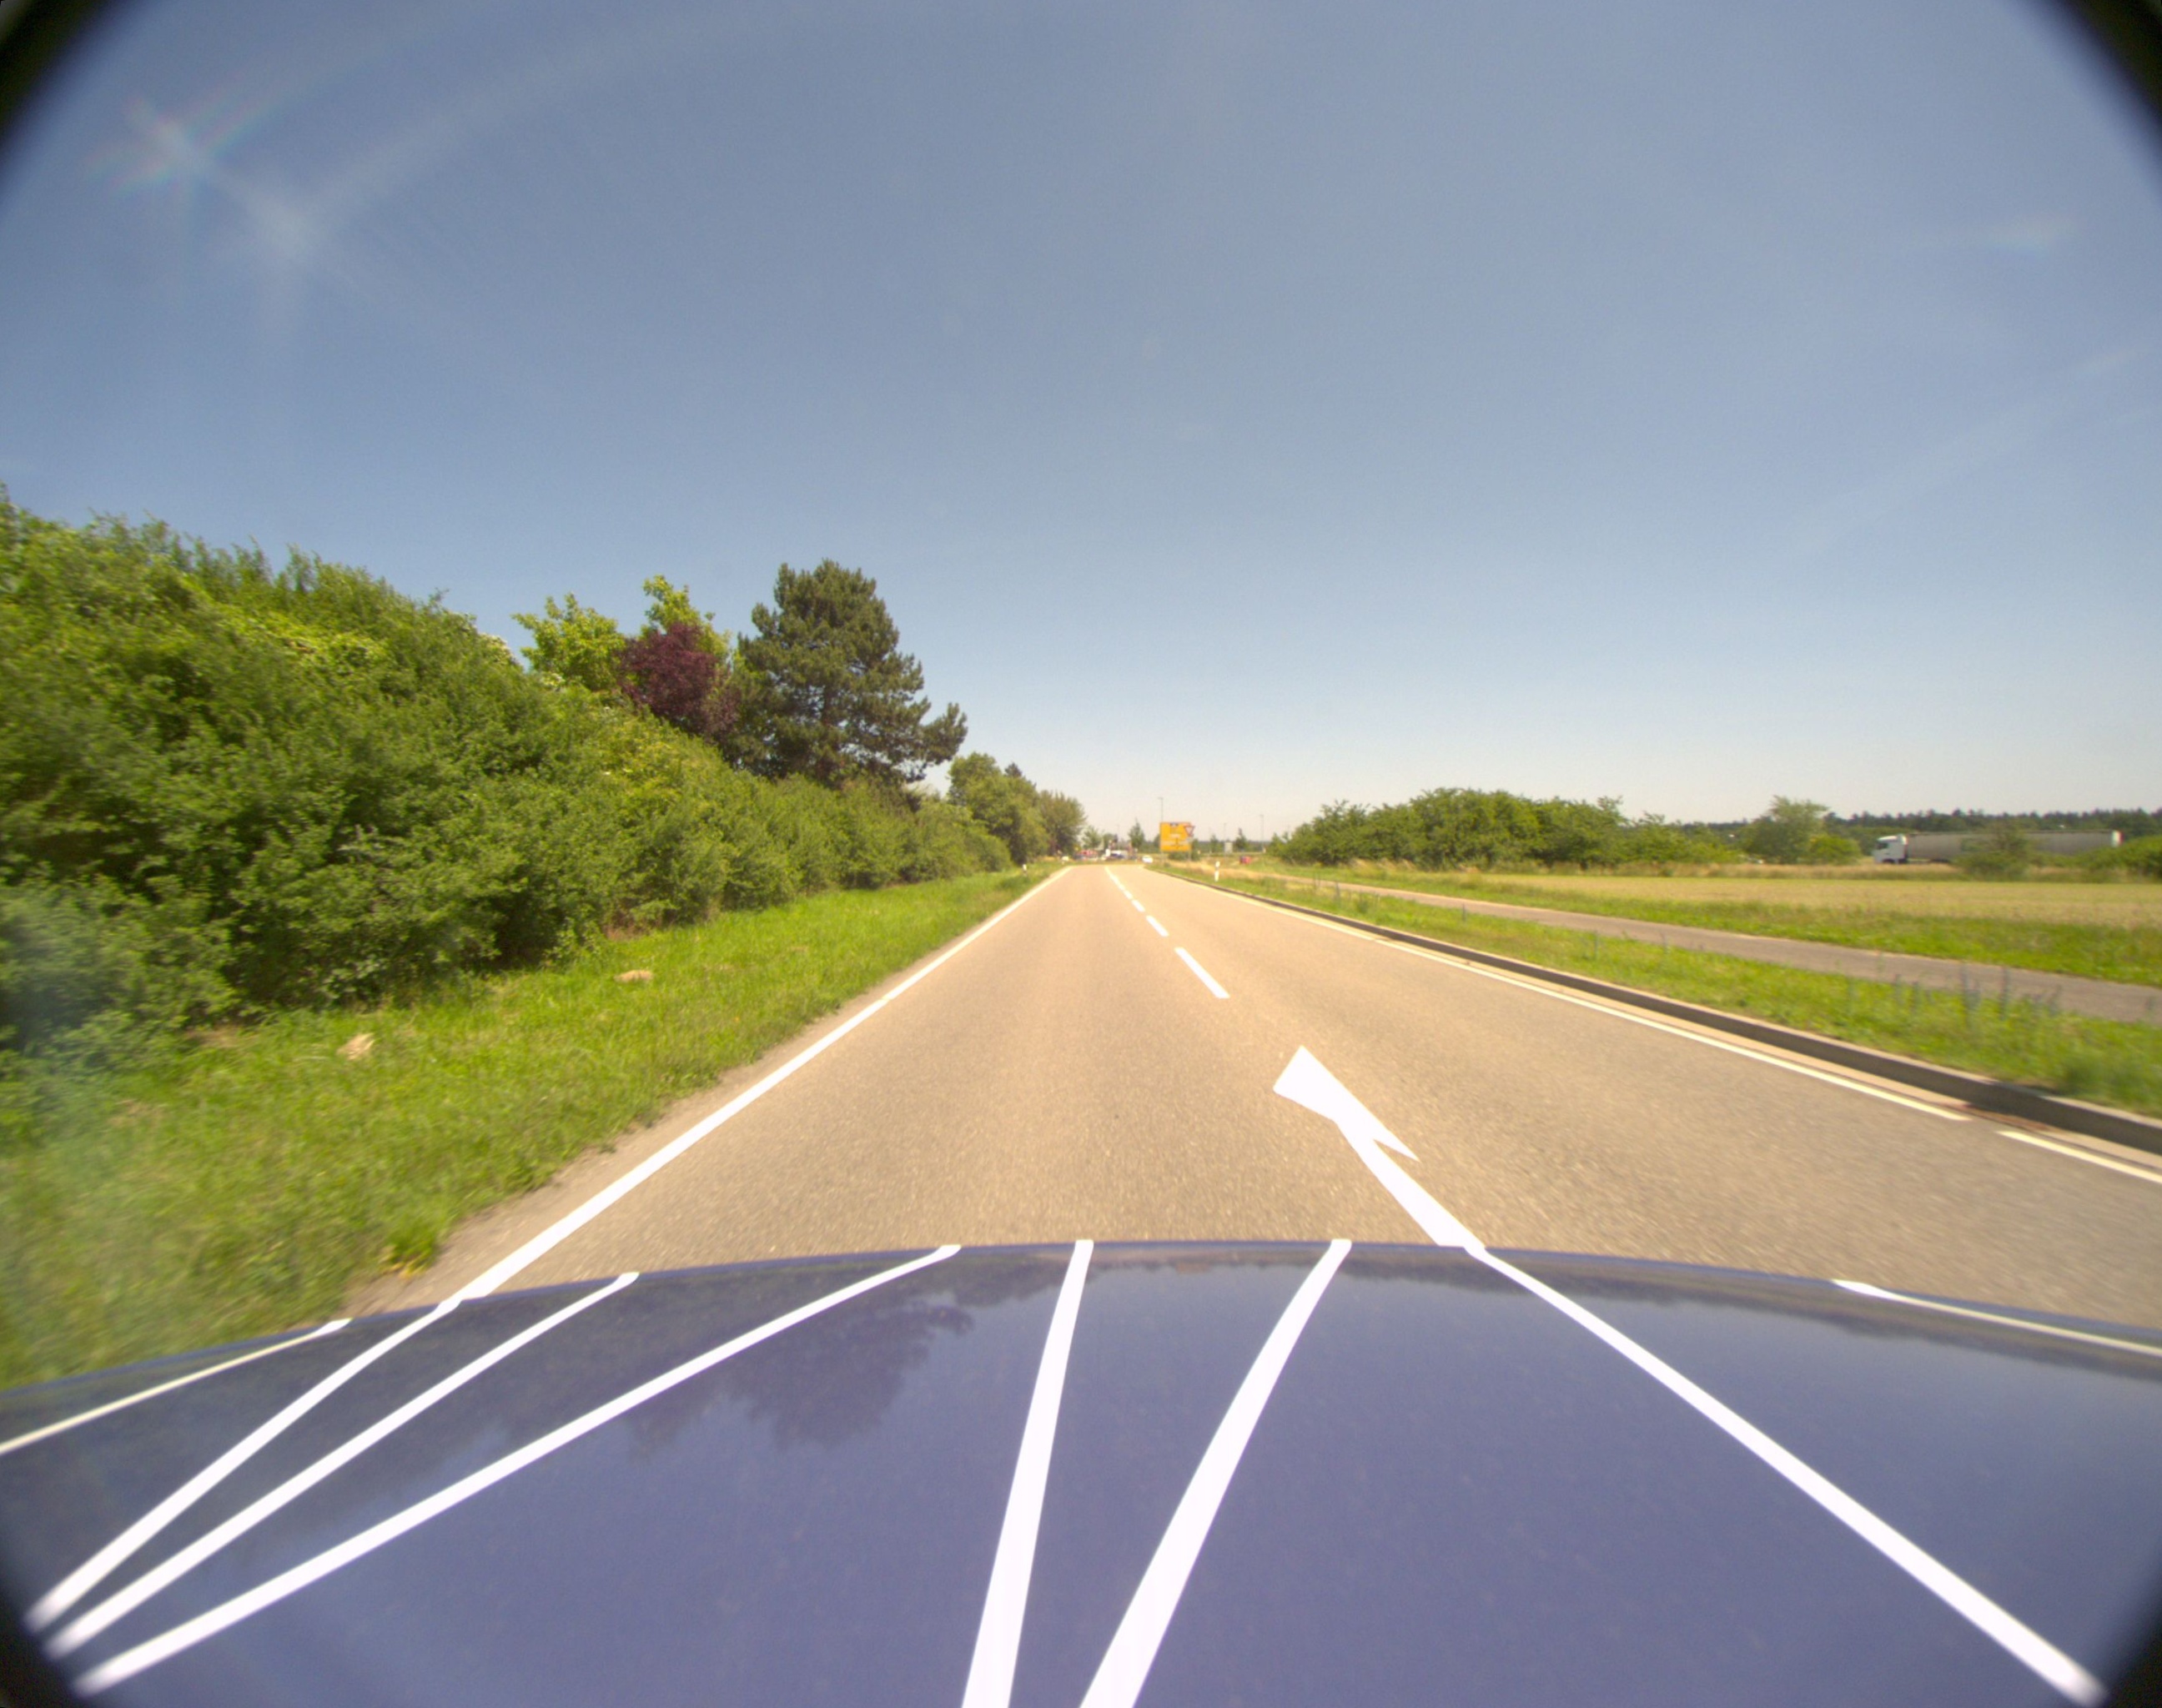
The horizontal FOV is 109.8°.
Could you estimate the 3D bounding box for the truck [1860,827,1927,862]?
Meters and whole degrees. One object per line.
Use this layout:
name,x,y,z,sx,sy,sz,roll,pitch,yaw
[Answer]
truck,93.795,-1.033,87.769,2.647,3.911,4.767,0,1,-29

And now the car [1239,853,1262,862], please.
car,28.364,0.577,127.194,3.744,1.425,1.656,1,1,-38

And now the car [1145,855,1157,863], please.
car,13.108,0.838,141.729,1.746,1.419,3.999,0,1,-1

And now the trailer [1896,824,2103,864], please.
trailer,97.344,-1.012,81.155,2.647,3.911,13.848,0,1,-29

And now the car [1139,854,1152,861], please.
car,12.848,0.733,151.509,1.747,1.303,3.997,0,1,-6
